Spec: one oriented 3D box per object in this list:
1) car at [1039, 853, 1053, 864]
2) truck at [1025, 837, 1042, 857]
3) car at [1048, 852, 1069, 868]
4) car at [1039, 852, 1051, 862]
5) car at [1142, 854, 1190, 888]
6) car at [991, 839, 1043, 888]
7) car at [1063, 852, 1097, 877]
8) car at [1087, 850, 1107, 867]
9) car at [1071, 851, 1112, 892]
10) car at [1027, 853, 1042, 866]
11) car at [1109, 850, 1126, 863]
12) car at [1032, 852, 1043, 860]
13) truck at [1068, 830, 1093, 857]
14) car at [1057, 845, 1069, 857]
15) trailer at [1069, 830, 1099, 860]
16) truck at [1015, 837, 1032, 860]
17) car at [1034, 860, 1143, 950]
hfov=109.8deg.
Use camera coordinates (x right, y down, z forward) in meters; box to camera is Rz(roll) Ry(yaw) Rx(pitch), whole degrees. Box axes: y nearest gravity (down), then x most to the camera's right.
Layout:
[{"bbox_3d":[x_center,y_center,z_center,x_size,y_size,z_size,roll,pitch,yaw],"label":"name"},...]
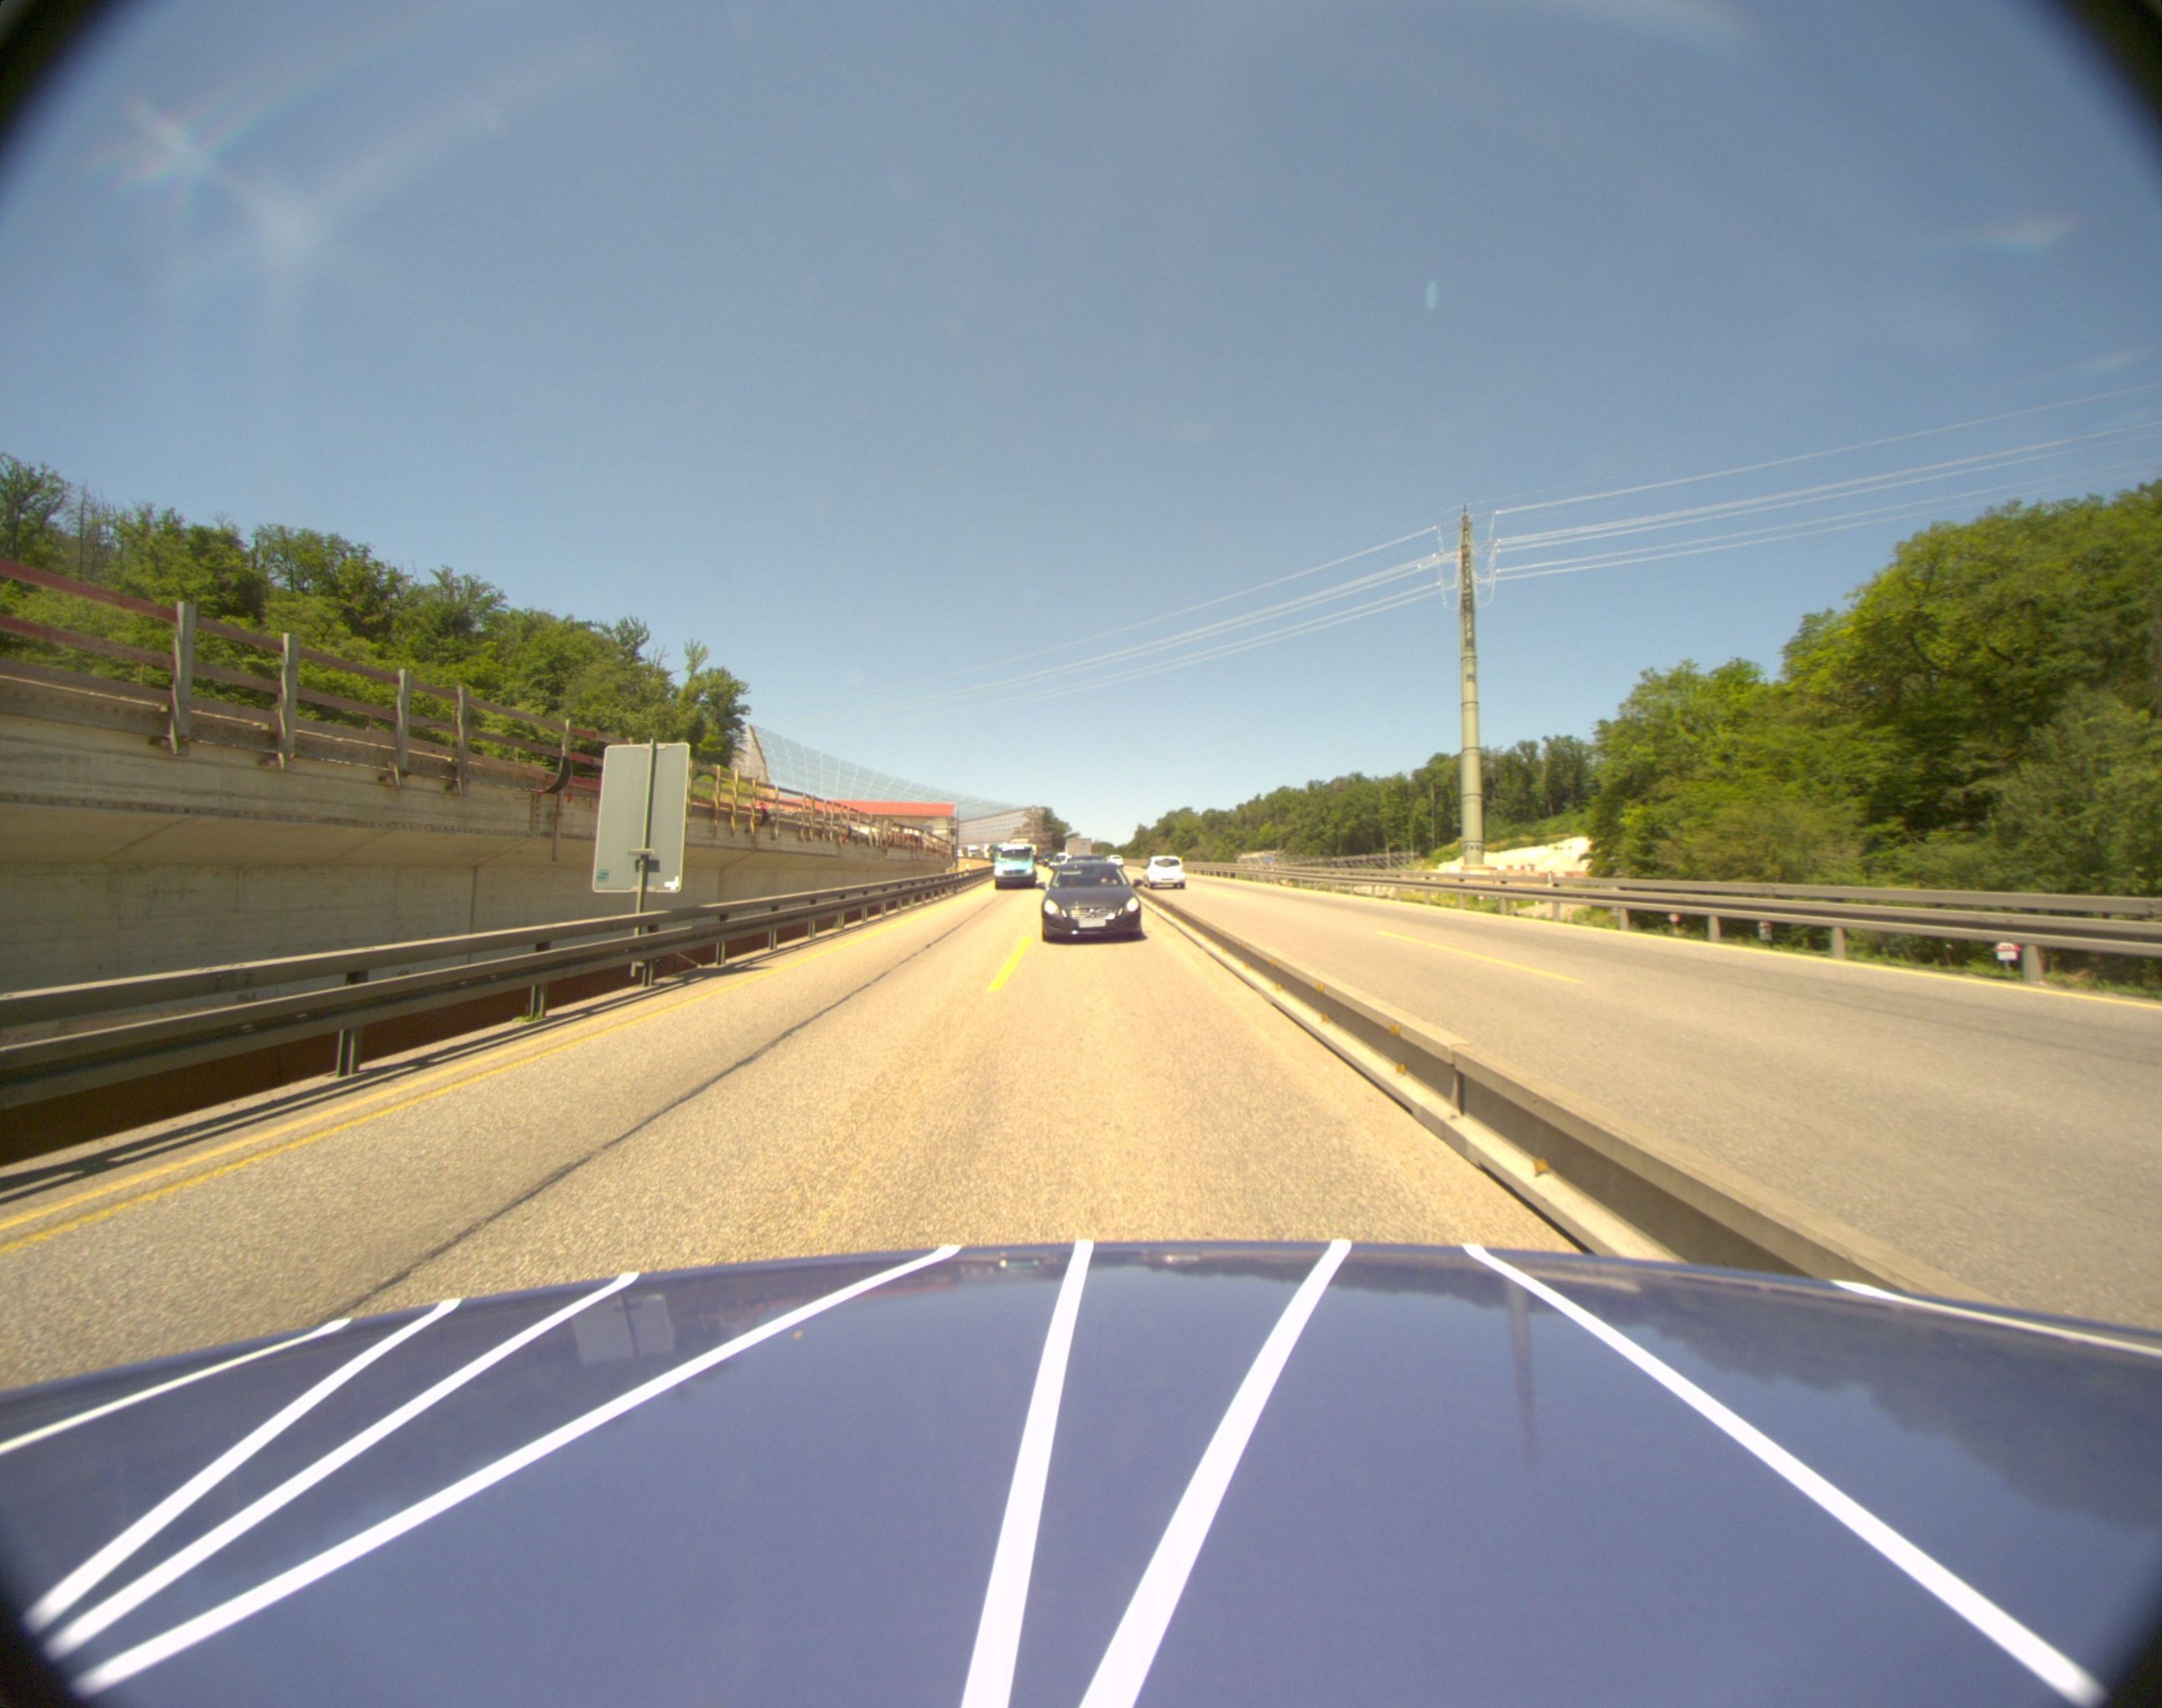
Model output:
[{"bbox_3d":[-4.656,0.639,101.304,1.648,1.366,3.342,-3,1,-6],"label":"car"},{"bbox_3d":[-13.311,-1.903,211.180,3.567,5.334,16.082,-3,1,-6],"label":"truck"},{"bbox_3d":[-2.146,0.535,72.685,1.646,1.366,3.345,-2,1,3],"label":"car"},{"bbox_3d":[-5.521,0.483,116.441,1.647,1.366,3.344,-2,1,1],"label":"car"},{"bbox_3d":[3.849,0.758,35.018,1.751,1.418,3.709,-1,0,0],"label":"car"},{"bbox_3d":[-3.243,0.427,40.079,2.217,2.312,6.900,-1,1,-1],"label":"car"},{"bbox_3d":[-0.140,0.754,56.066,2.298,1.601,4.663,-2,1,-2],"label":"car"},{"bbox_3d":[1.586,0.407,77.538,1.922,1.586,4.527,-1,1,-1],"label":"car"},{"bbox_3d":[0.489,0.670,31.414,1.519,1.543,3.861,-2,1,3],"label":"car"},{"bbox_3d":[-5.763,0.663,93.685,1.648,1.366,3.342,-3,1,-6],"label":"car"},{"bbox_3d":[4.229,0.248,88.786,1.704,1.484,3.999,-1,1,-1],"label":"car"},{"bbox_3d":[-7.495,0.298,131.922,1.648,1.366,3.342,-3,1,-6],"label":"car"},{"bbox_3d":[-0.112,-1.807,131.423,3.406,4.396,7.271,-3,1,-5],"label":"truck"},{"bbox_3d":[-2.925,-0.542,122.687,1.865,1.762,4.231,-2,1,-3],"label":"car"},{"bbox_3d":[0.422,-1.468,126.191,3.499,4.461,12.918,-3,1,-5],"label":"trailer"},{"bbox_3d":[-9.282,-0.910,121.559,2.472,3.464,9.862,-3,1,-5],"label":"truck"},{"bbox_3d":[0.097,0.906,15.406,1.844,1.475,4.562,-2,0,-1],"label":"car"}]
